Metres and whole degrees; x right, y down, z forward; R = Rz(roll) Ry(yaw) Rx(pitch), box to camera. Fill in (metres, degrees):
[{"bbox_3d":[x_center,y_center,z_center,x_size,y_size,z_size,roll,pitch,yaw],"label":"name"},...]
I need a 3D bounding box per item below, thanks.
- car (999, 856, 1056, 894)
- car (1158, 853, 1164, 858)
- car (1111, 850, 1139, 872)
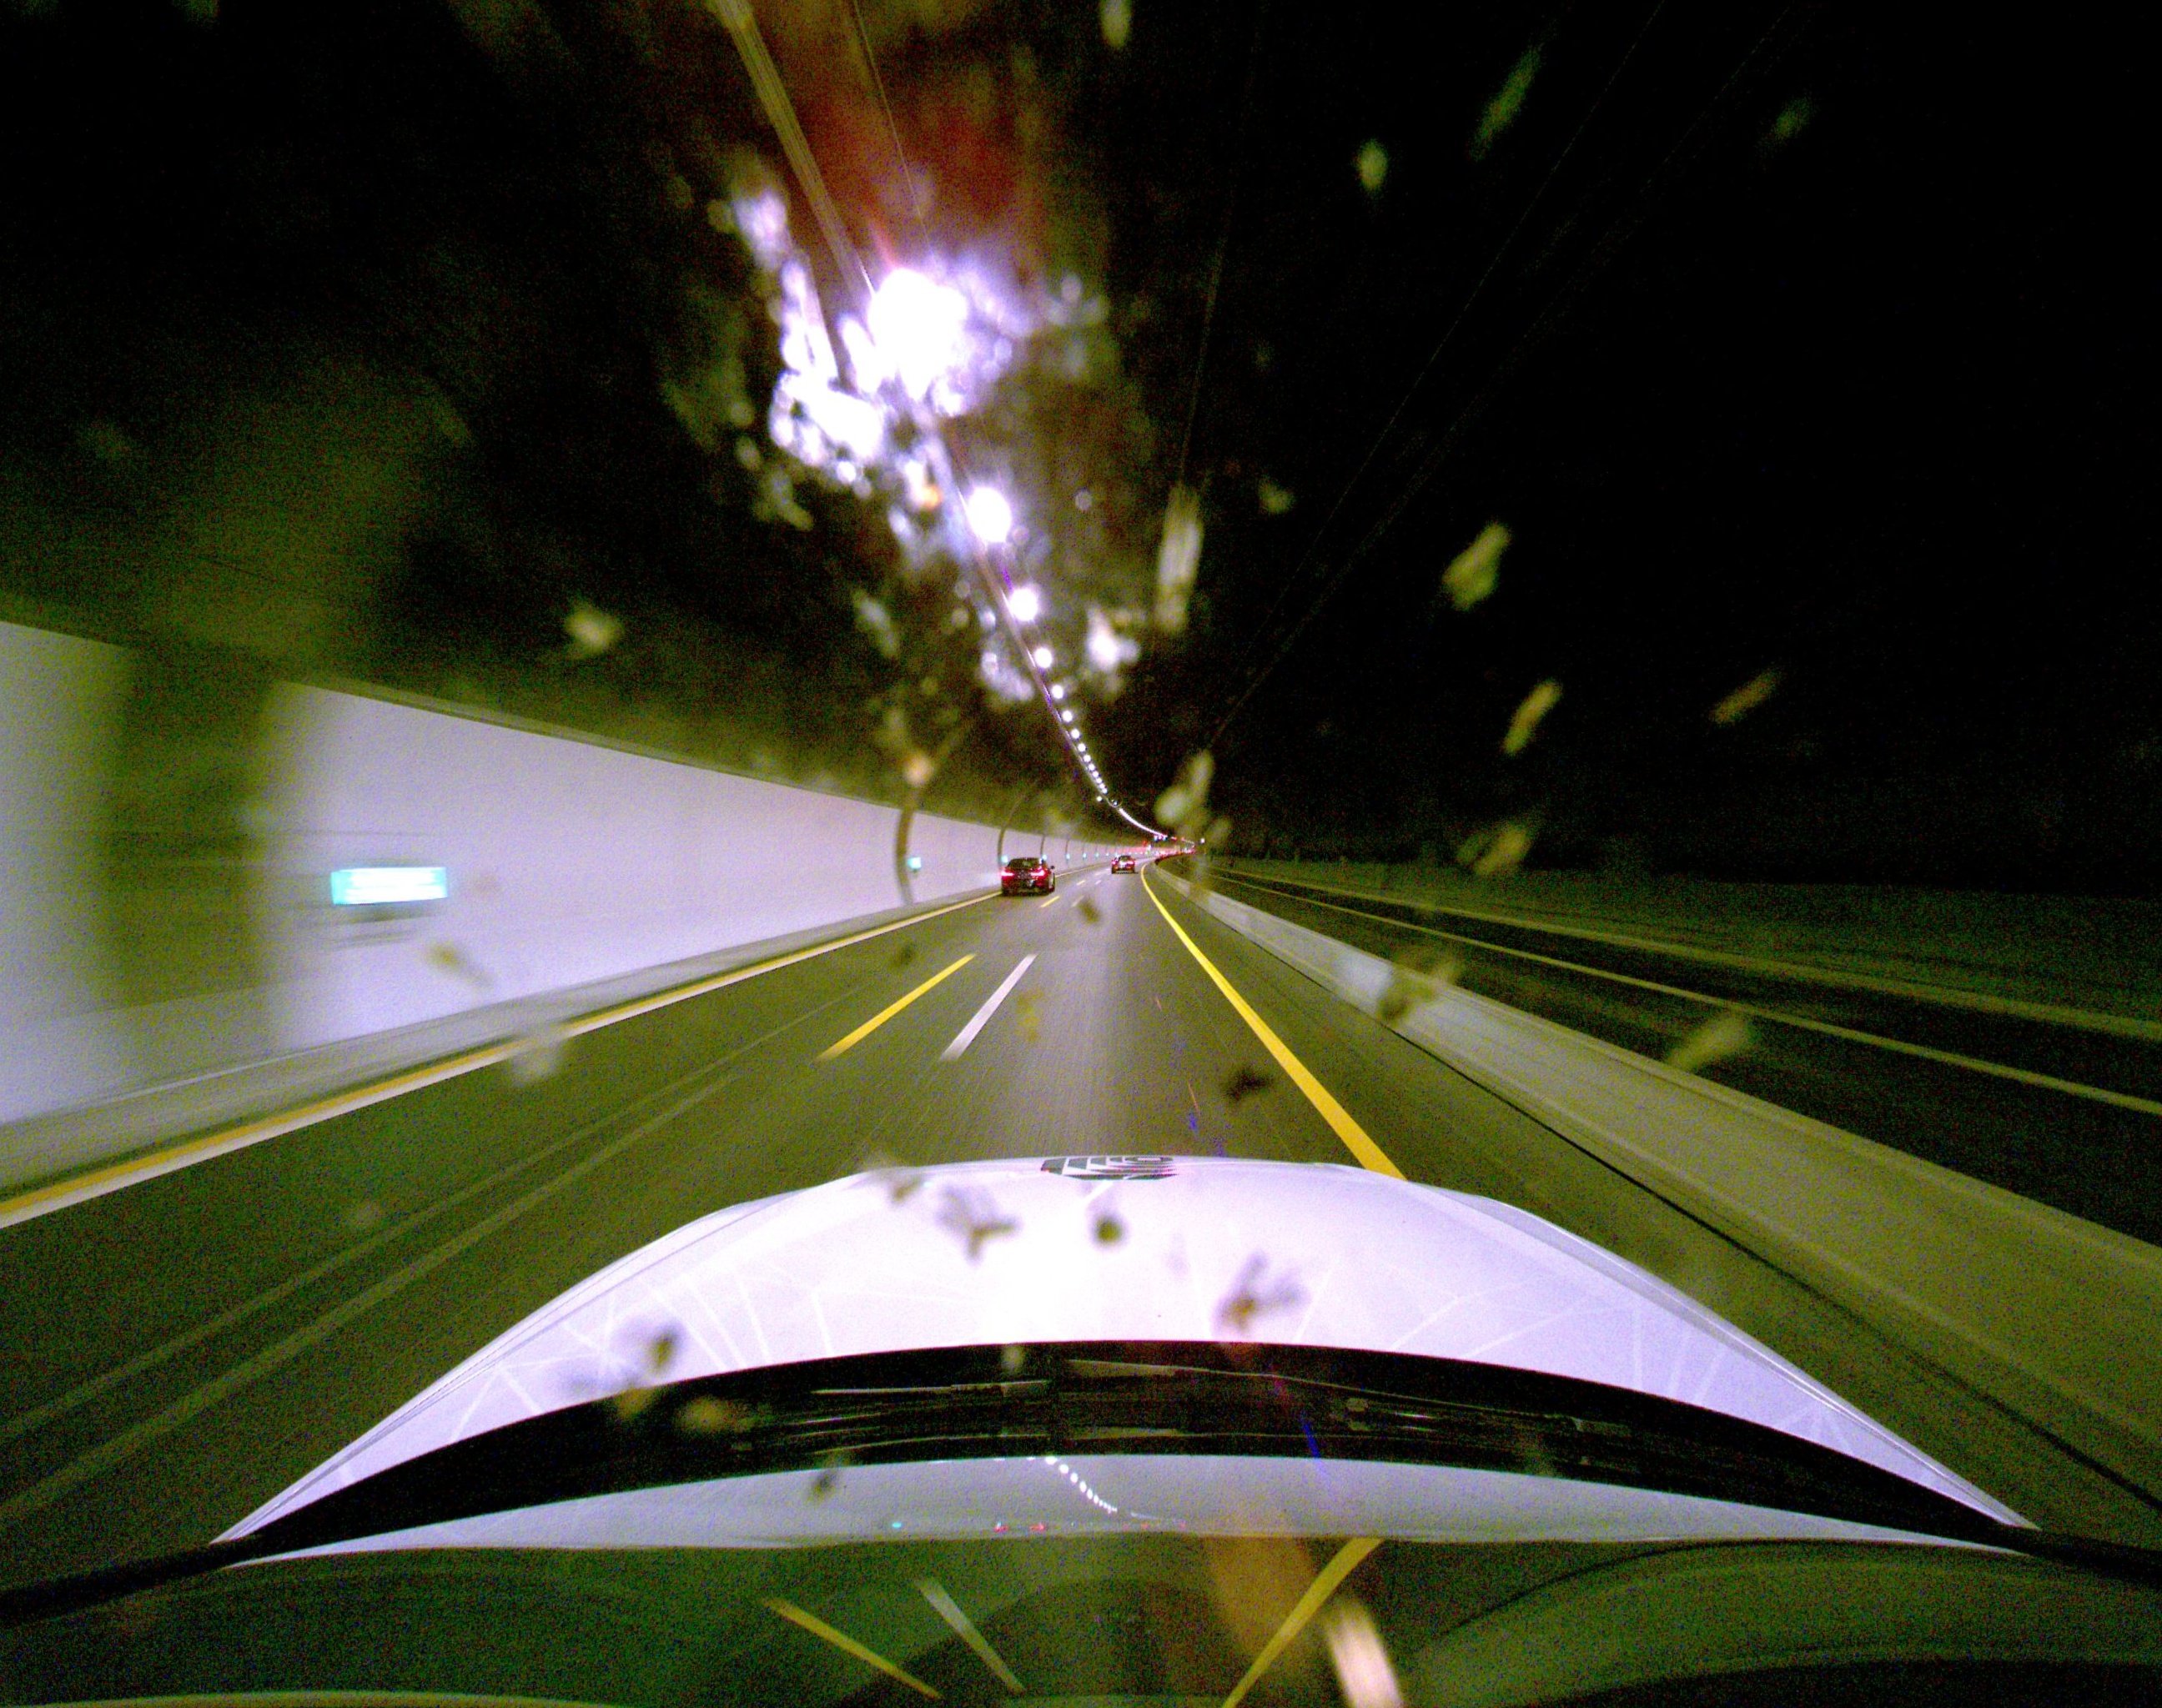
[{"bbox_3d":[-2.079,0.788,32.960,1.771,1.438,4.886,0,0,2],"label":"car"},{"bbox_3d":[21.860,0.431,222.698,1.587,1.333,3.757,0,0,6],"label":"car"},{"bbox_3d":[3.573,0.520,65.249,2.131,1.706,4.005,-1,0,4],"label":"car"}]
